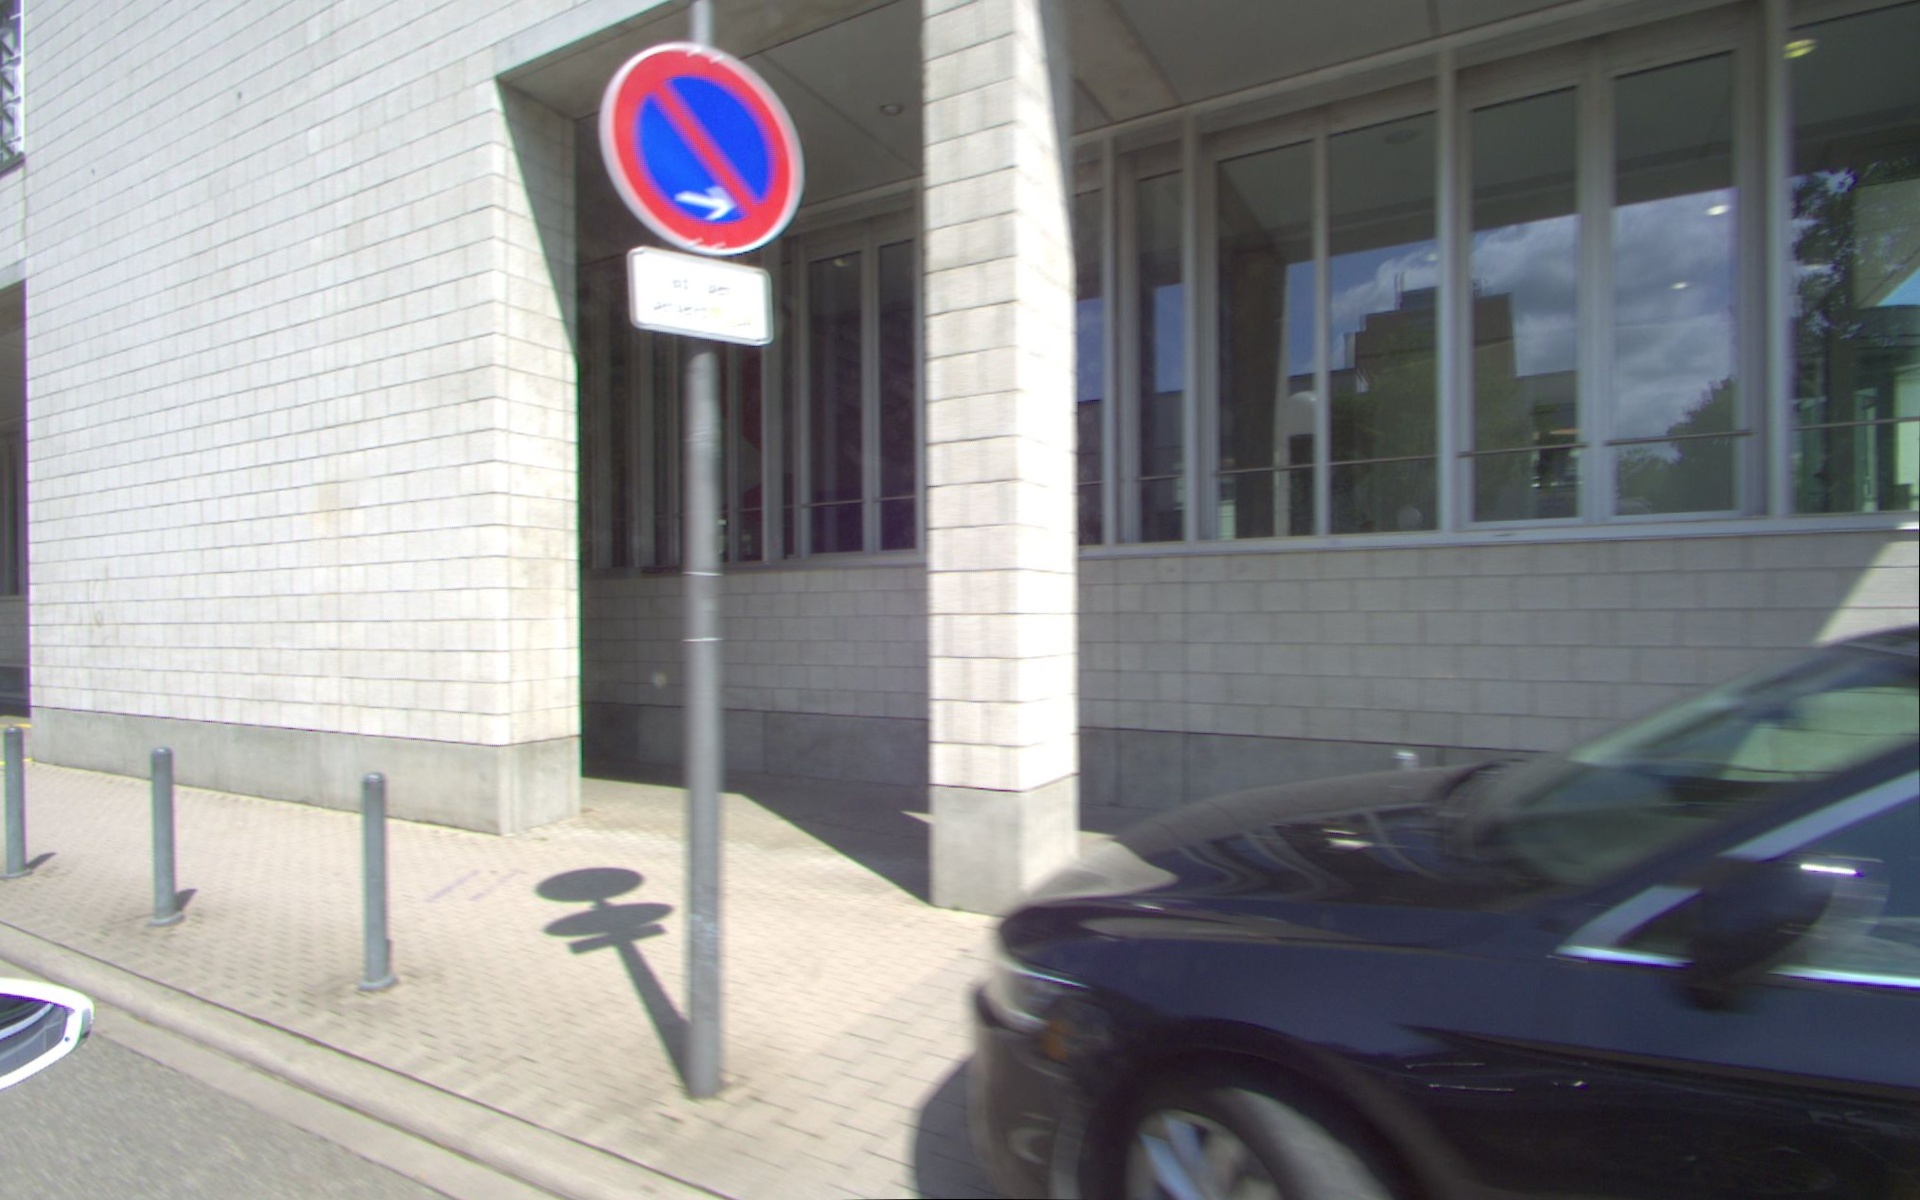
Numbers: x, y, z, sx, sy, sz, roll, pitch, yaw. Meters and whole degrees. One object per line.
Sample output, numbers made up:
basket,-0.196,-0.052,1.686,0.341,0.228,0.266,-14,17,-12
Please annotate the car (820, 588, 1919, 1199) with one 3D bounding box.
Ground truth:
car,2.088,0.734,1.822,4.452,1.483,1.864,-1,-1,30
